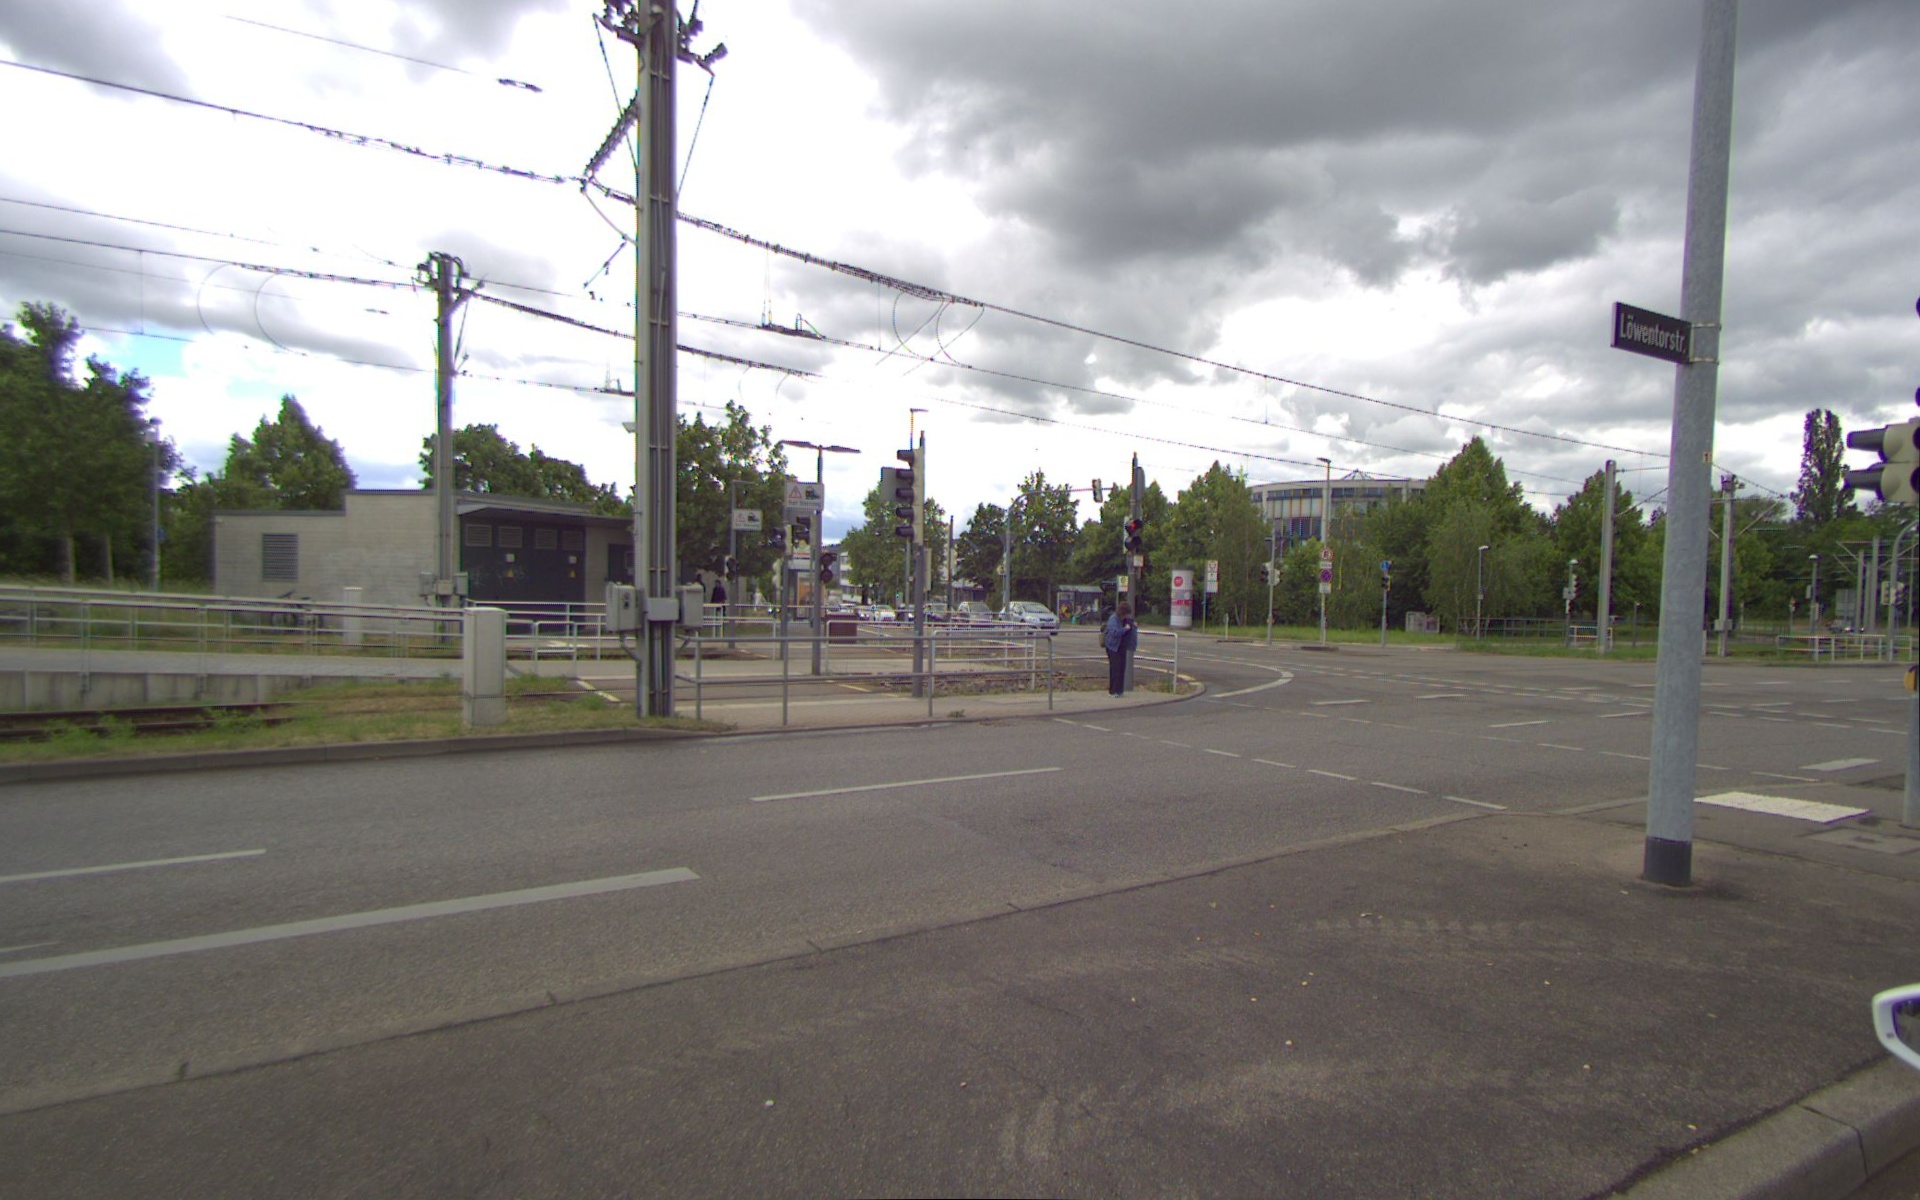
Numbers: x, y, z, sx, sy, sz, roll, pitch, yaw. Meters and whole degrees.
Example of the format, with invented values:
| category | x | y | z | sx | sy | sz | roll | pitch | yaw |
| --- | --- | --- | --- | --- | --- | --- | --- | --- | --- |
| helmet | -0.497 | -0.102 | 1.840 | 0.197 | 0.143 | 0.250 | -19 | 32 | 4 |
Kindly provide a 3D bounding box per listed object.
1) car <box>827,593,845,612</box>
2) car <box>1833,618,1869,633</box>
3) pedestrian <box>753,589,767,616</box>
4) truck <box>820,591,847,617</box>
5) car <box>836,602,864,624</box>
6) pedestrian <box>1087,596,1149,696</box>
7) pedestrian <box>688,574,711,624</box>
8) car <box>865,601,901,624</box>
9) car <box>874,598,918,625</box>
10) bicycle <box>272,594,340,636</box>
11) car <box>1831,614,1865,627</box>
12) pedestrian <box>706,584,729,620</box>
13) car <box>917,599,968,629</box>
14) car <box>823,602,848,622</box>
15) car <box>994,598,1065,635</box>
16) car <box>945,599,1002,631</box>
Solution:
| category | x | y | z | sx | sy | sz | roll | pitch | yaw |
| --- | --- | --- | --- | --- | --- | --- | --- | --- | --- |
| car | -14.613 | 0.294 | 118.119 | 1.964 | 2.218 | 5.800 | 1 | 0 | -9 |
| car | 98.894 | 2.806 | 111.567 | 1.766 | 1.608 | 3.998 | 2 | 0 | 23 |
| pedestrian | -11.569 | 0.141 | 58.097 | 0.633 | 1.557 | 0.521 | 2 | 0 | -2 |
| truck | -18.675 | 0.548 | 147.770 | 2.965 | 3.580 | 9.258 | 1 | 0 | -13 |
| car | -9.495 | 1.139 | 86.670 | 1.869 | 1.805 | 3.988 | 1 | 0 | -14 |
| pedestrian | 2.527 | 0.725 | 16.078 | 0.712 | 1.557 | 0.630 | 2 | 0 | -33 |
| pedestrian | -9.258 | -0.026 | 35.651 | 0.700 | 1.751 | 0.674 | 2 | 0 | -19 |
| car | -5.763 | 0.925 | 74.909 | 1.775 | 1.617 | 3.985 | 2 | 0 | -17 |
| car | -4.148 | 0.696 | 64.585 | 1.776 | 1.617 | 3.982 | 2 | 0 | -20 |
| bicycle | -17.378 | 0.388 | 26.683 | 1.778 | 1.045 | 0.536 | 2 | 0 | 21 |
| car | 116.208 | 2.639 | 131.495 | 1.754 | 1.625 | 3.889 | 2 | 0 | 15 |
| pedestrian | -9.280 | 0.082 | 38.425 | 0.590 | 1.377 | 0.616 | 2 | 0 | 18 |
| car | -1.062 | 0.759 | 58.048 | 1.776 | 1.617 | 3.982 | 2 | 0 | -20 |
| car | -11.699 | 1.104 | 94.176 | 1.869 | 1.805 | 3.990 | 1 | 0 | -13 |
| car | 3.198 | 0.730 | 46.908 | 1.848 | 1.617 | 3.982 | 2 | 0 | -20 |
| car | 0.668 | 0.792 | 53.875 | 1.776 | 1.617 | 3.982 | 2 | 0 | -20 |
